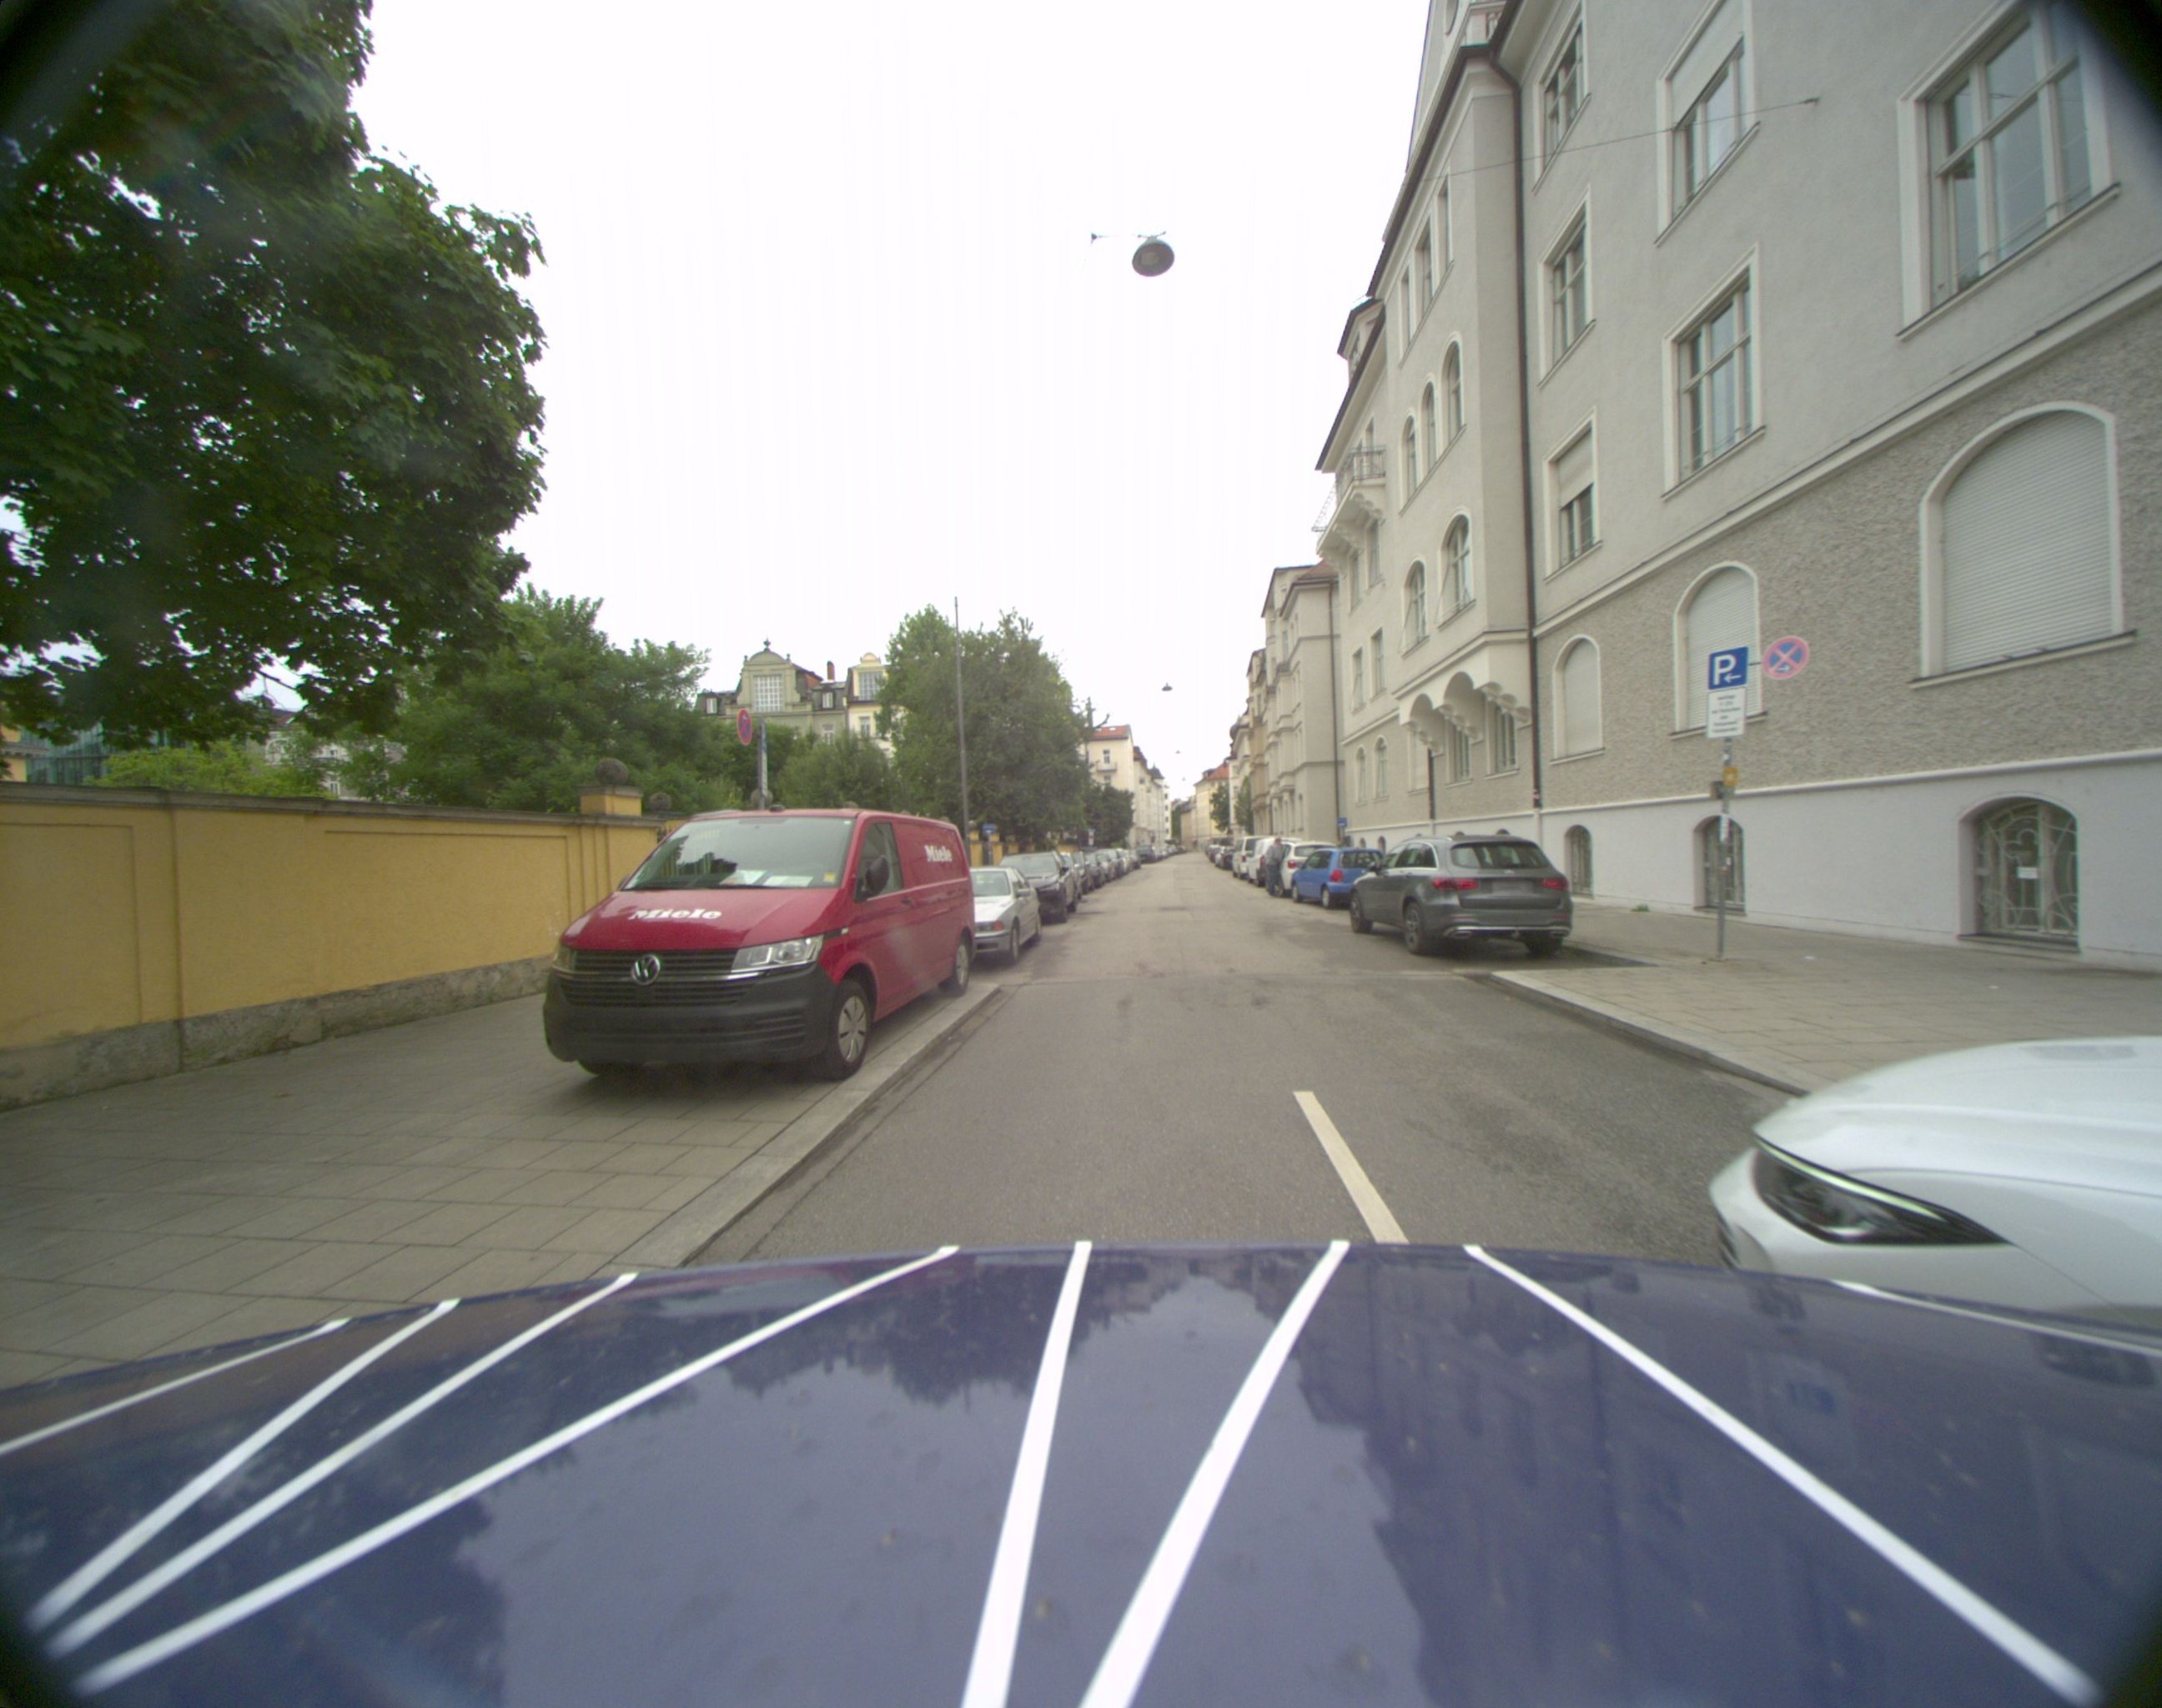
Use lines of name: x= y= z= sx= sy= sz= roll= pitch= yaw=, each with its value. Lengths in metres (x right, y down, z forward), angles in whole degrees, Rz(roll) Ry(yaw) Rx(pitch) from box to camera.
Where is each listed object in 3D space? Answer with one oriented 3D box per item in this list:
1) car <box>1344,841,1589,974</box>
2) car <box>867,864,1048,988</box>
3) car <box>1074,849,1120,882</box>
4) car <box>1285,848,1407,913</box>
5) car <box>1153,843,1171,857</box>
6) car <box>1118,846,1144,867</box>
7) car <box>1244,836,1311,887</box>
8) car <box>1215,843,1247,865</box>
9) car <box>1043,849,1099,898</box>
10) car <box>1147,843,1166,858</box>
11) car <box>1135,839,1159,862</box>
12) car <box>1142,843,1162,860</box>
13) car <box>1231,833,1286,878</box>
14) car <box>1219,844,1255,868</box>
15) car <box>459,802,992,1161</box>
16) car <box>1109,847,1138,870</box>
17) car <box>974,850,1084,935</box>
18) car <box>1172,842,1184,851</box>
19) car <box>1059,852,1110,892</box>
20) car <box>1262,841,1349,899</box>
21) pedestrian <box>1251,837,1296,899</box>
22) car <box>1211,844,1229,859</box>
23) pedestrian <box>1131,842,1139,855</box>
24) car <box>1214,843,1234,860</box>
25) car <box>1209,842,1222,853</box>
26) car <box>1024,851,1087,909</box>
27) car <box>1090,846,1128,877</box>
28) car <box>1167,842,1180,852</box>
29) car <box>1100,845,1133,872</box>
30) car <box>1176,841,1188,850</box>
car: x=5.436 y=0.618 z=11.439 sx=1.750 sy=1.593 sz=4.497 roll=-1 pitch=1 yaw=5
car: x=-1.758 y=0.998 z=12.370 sx=1.889 sy=1.440 sz=4.369 roll=-4 pitch=0 yaw=3
car: x=0.851 y=0.512 z=36.631 sx=1.695 sy=1.406 sz=4.517 roll=-2 pitch=1 yaw=7
car: x=6.426 y=0.576 z=18.840 sx=1.696 sy=1.406 sz=3.662 roll=-1 pitch=1 yaw=-1
car: x=10.860 y=-0.546 z=101.876 sx=1.997 sy=1.585 sz=4.302 roll=-5 pitch=0 yaw=10
car: x=3.802 y=0.151 z=57.231 sx=1.716 sy=1.445 sz=4.957 roll=-2 pitch=1 yaw=7
car: x=7.472 y=0.228 z=29.272 sx=1.750 sy=1.778 sz=5.038 roll=-1 pitch=1 yaw=6
car: x=10.575 y=-0.050 z=53.832 sx=1.859 sy=1.455 sz=4.380 roll=-1 pitch=1 yaw=7
car: x=-0.322 y=0.649 z=27.578 sx=1.511 sy=1.557 sz=2.870 roll=-4 pitch=1 yaw=7
car: x=8.947 y=-0.444 z=89.809 sx=1.998 sy=1.585 sz=4.301 roll=-5 pitch=0 yaw=7
car: x=6.520 y=-0.340 z=74.851 sx=1.998 sy=1.949 sz=4.435 roll=-5 pitch=0 yaw=7
car: x=7.951 y=-0.280 z=84.944 sx=1.998 sy=1.643 sz=4.450 roll=-5 pitch=0 yaw=7
car: x=8.173 y=0.039 z=35.394 sx=1.860 sy=1.927 sz=4.959 roll=-1 pitch=1 yaw=6
car: x=9.971 y=0.105 z=48.811 sx=1.859 sy=1.404 sz=4.380 roll=0 pitch=1 yaw=7
car: x=-2.280 y=0.697 z=6.649 sx=1.878 sy=1.909 sz=4.889 roll=-4 pitch=1 yaw=5
car: x=2.951 y=0.253 z=52.551 sx=1.716 sy=1.445 sz=4.185 roll=-2 pitch=1 yaw=7
car: x=-1.088 y=0.806 z=18.430 sx=1.888 sy=1.643 sz=4.825 roll=-4 pitch=0 yaw=4
car: x=19.377 y=-1.517 z=151.498 sx=1.997 sy=1.672 sz=4.302 roll=-5 pitch=0 yaw=12
car: x=0.202 y=0.691 z=31.686 sx=1.695 sy=1.406 sz=4.037 roll=-4 pitch=1 yaw=5
car: x=6.813 y=0.416 z=23.507 sx=1.750 sy=1.593 sz=4.497 roll=-1 pitch=1 yaw=5
pedestrian: x=5.631 y=0.415 z=22.196 sx=0.874 sy=1.746 sz=0.966 roll=-2 pitch=1 yaw=38
car: x=13.605 y=-0.264 z=74.356 sx=1.626 sy=1.421 sz=3.943 roll=-1 pitch=1 yaw=10
pedestrian: x=6.839 y=-0.693 z=96.673 sx=0.875 sy=1.680 sz=1.052 roll=-2 pitch=1 yaw=8
car: x=12.946 y=-0.211 z=68.863 sx=1.626 sy=1.448 sz=3.943 roll=-1 pitch=1 yaw=9
car: x=18.417 y=-0.919 z=104.049 sx=1.626 sy=1.522 sz=3.691 roll=-1 pitch=1 yaw=8
car: x=-0.702 y=0.728 z=23.300 sx=1.488 sy=1.530 sz=3.693 roll=-4 pitch=1 yaw=4
car: x=1.650 y=0.354 z=42.612 sx=1.716 sy=1.562 sz=4.693 roll=-2 pitch=1 yaw=7
car: x=16.691 y=-1.190 z=136.999 sx=1.997 sy=1.585 sz=4.302 roll=-5 pitch=0 yaw=10
car: x=2.301 y=0.268 z=47.864 sx=1.716 sy=1.562 sz=4.321 roll=-2 pitch=1 yaw=7
car: x=21.489 y=-1.851 z=161.604 sx=1.997 sy=1.585 sz=4.302 roll=-5 pitch=0 yaw=14
